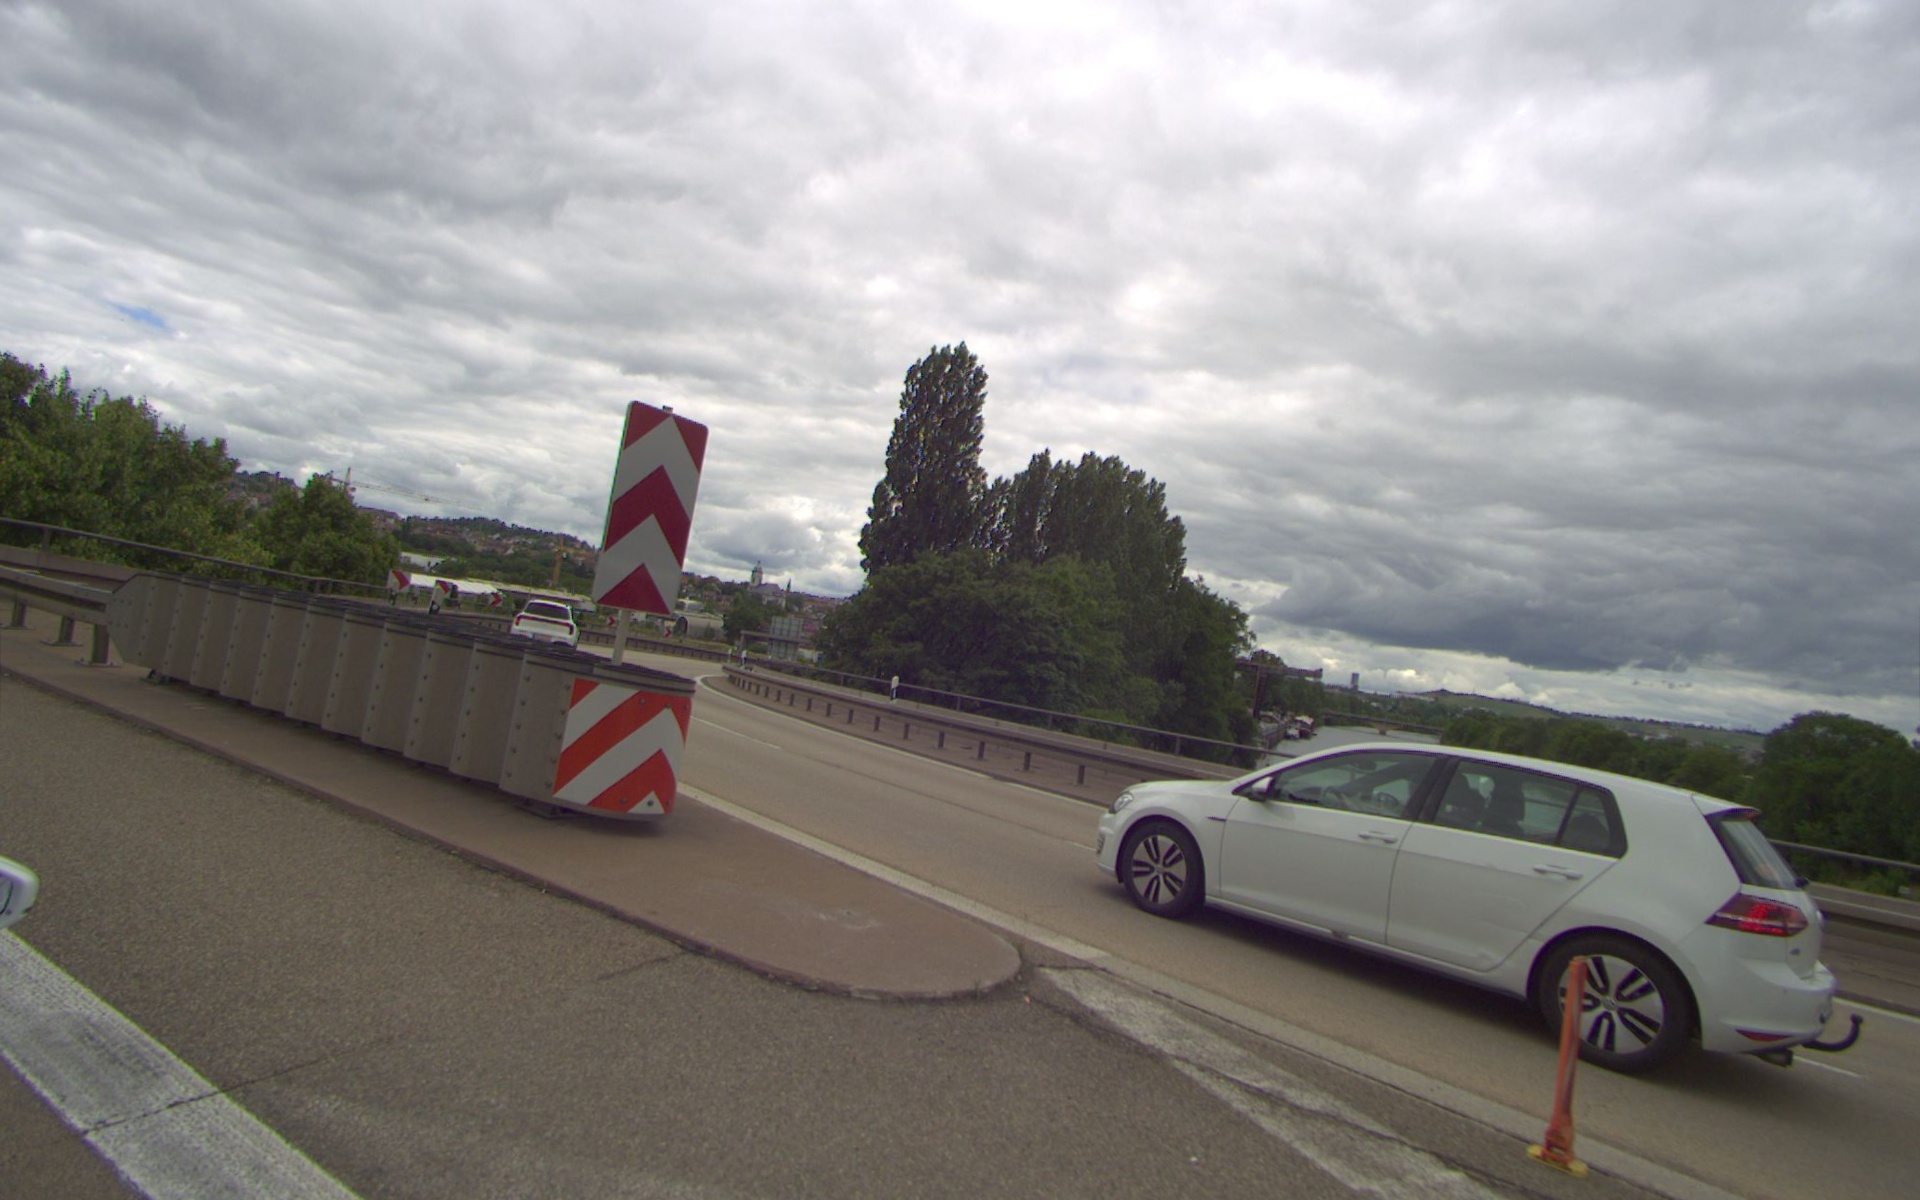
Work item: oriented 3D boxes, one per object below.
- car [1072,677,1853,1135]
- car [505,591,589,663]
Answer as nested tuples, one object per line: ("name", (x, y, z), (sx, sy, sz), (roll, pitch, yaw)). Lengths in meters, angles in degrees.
("car", (2.884, 1.569, 6.341), (3.949, 1.495, 1.731), (5, -6, 45))
("car", (-13.023, 0.804, 31.953), (1.974, 1.799, 3.985), (11, -3, -19))
